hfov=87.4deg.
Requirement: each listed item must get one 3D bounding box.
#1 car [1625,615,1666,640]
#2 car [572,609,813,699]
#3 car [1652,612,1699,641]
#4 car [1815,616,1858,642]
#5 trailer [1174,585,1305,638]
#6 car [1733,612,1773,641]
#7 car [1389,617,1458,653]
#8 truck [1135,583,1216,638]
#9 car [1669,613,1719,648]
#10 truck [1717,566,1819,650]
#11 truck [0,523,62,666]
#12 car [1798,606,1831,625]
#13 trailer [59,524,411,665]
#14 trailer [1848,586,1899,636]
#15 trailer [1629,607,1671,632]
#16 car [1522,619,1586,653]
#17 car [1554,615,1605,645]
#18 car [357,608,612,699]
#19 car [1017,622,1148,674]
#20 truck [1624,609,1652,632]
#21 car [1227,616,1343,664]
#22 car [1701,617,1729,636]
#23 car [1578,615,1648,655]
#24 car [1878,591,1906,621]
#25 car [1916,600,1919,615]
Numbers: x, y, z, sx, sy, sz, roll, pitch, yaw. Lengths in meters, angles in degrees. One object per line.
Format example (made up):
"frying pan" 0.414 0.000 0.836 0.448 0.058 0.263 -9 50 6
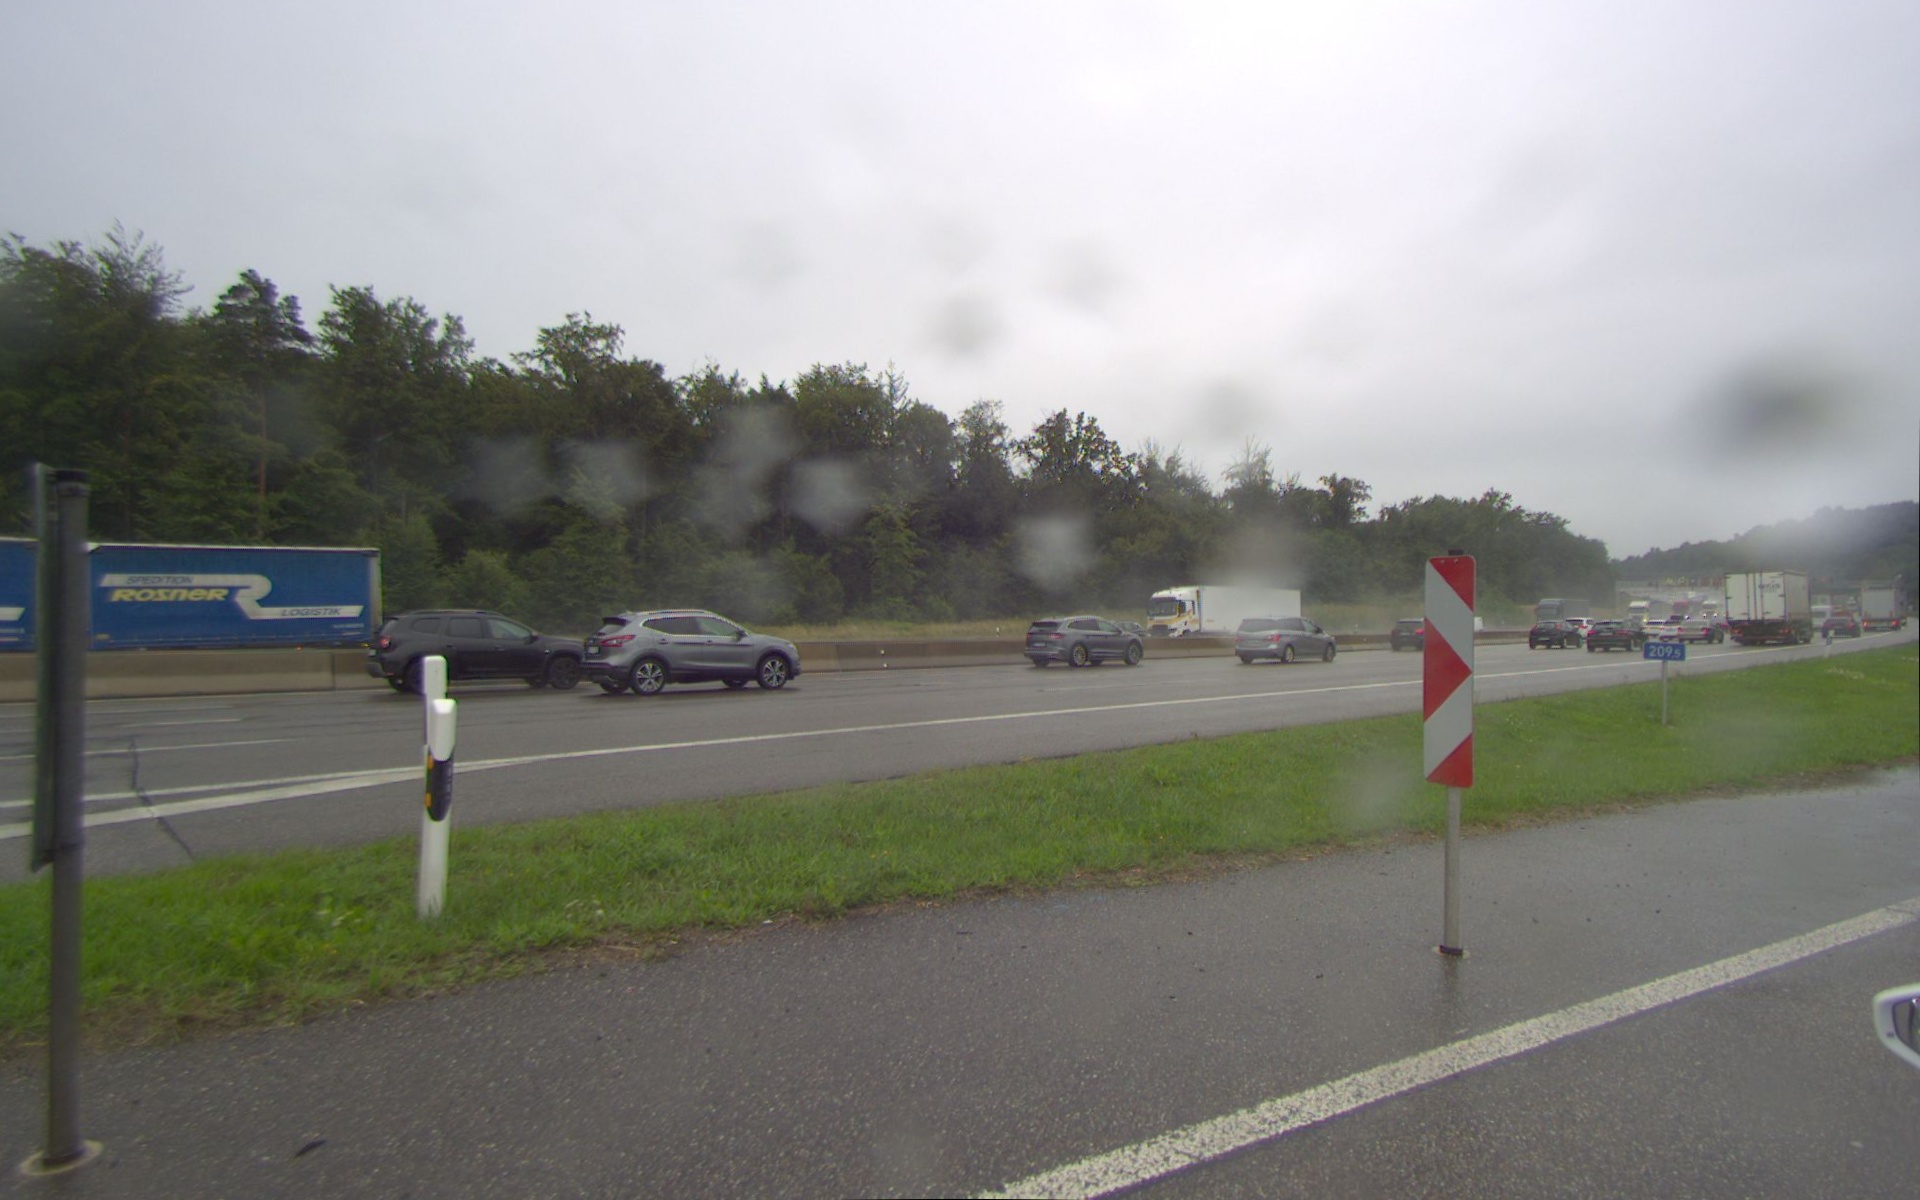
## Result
"car" 57.209 2.285 83.769 3.971 2.040 1.975 1 -2 -43
"car" -5.194 1.011 19.838 4.299 1.595 1.704 1 -2 -40
"car" 51.834 1.947 72.727 3.971 2.040 1.975 1 -2 -43
"car" 64.496 2.132 73.890 3.971 1.840 1.975 1 0 -43
"trailer" 20.468 0.896 72.726 13.391 3.543 2.624 1 -2 -43
"car" 59.082 1.962 74.800 1.973 2.040 3.975 0 -1 44
"car" 24.057 1.797 52.076 4.069 1.759 1.760 1 -2 -42
"truck" 14.428 0.762 67.032 5.562 3.497 2.621 1 -2 -43
"car" 44.579 1.835 60.964 4.305 1.997 1.771 1 -1 -44
"truck" 45.960 0.578 56.967 11.759 4.349 2.823 2 -2 -43
"truck" -31.085 -0.351 26.772 10.477 4.033 3.034 2 2 -41
"car" 88.522 1.605 104.023 3.968 1.840 1.976 1 1 -41
"trailer" -23.703 -0.104 33.357 9.097 4.101 3.063 2 2 -42
"trailer" 91.019 1.188 100.125 3.510 4.673 12.053 -2 -2 42
"trailer" 116.943 3.203 170.191 13.955 3.587 2.698 -2 4 -43
"car" 31.531 1.888 53.273 4.069 1.759 1.760 1 -1 -42
"car" 42.932 2.078 69.558 3.971 2.040 1.975 1 -2 -43
"car" -9.760 1.066 20.838 4.428 1.685 1.908 1 -3 -43
"car" 4.071 1.539 32.936 4.422 1.594 1.705 1 -2 -40
"truck" 111.605 3.346 165.320 4.726 3.582 2.689 -2 4 -42
"car" 11.236 1.354 34.618 4.298 1.547 1.774 1 -2 -39
"car" 75.457 2.634 100.399 3.761 1.810 1.681 1 -1 -45
"car" 29.944 1.580 46.019 3.818 1.759 1.760 1 -2 -42
"car" 114.259 0.718 123.192 2.346 3.532 4.788 3 1 43
"car" 133.132 1.045 138.227 1.970 2.041 3.980 3 1 41
